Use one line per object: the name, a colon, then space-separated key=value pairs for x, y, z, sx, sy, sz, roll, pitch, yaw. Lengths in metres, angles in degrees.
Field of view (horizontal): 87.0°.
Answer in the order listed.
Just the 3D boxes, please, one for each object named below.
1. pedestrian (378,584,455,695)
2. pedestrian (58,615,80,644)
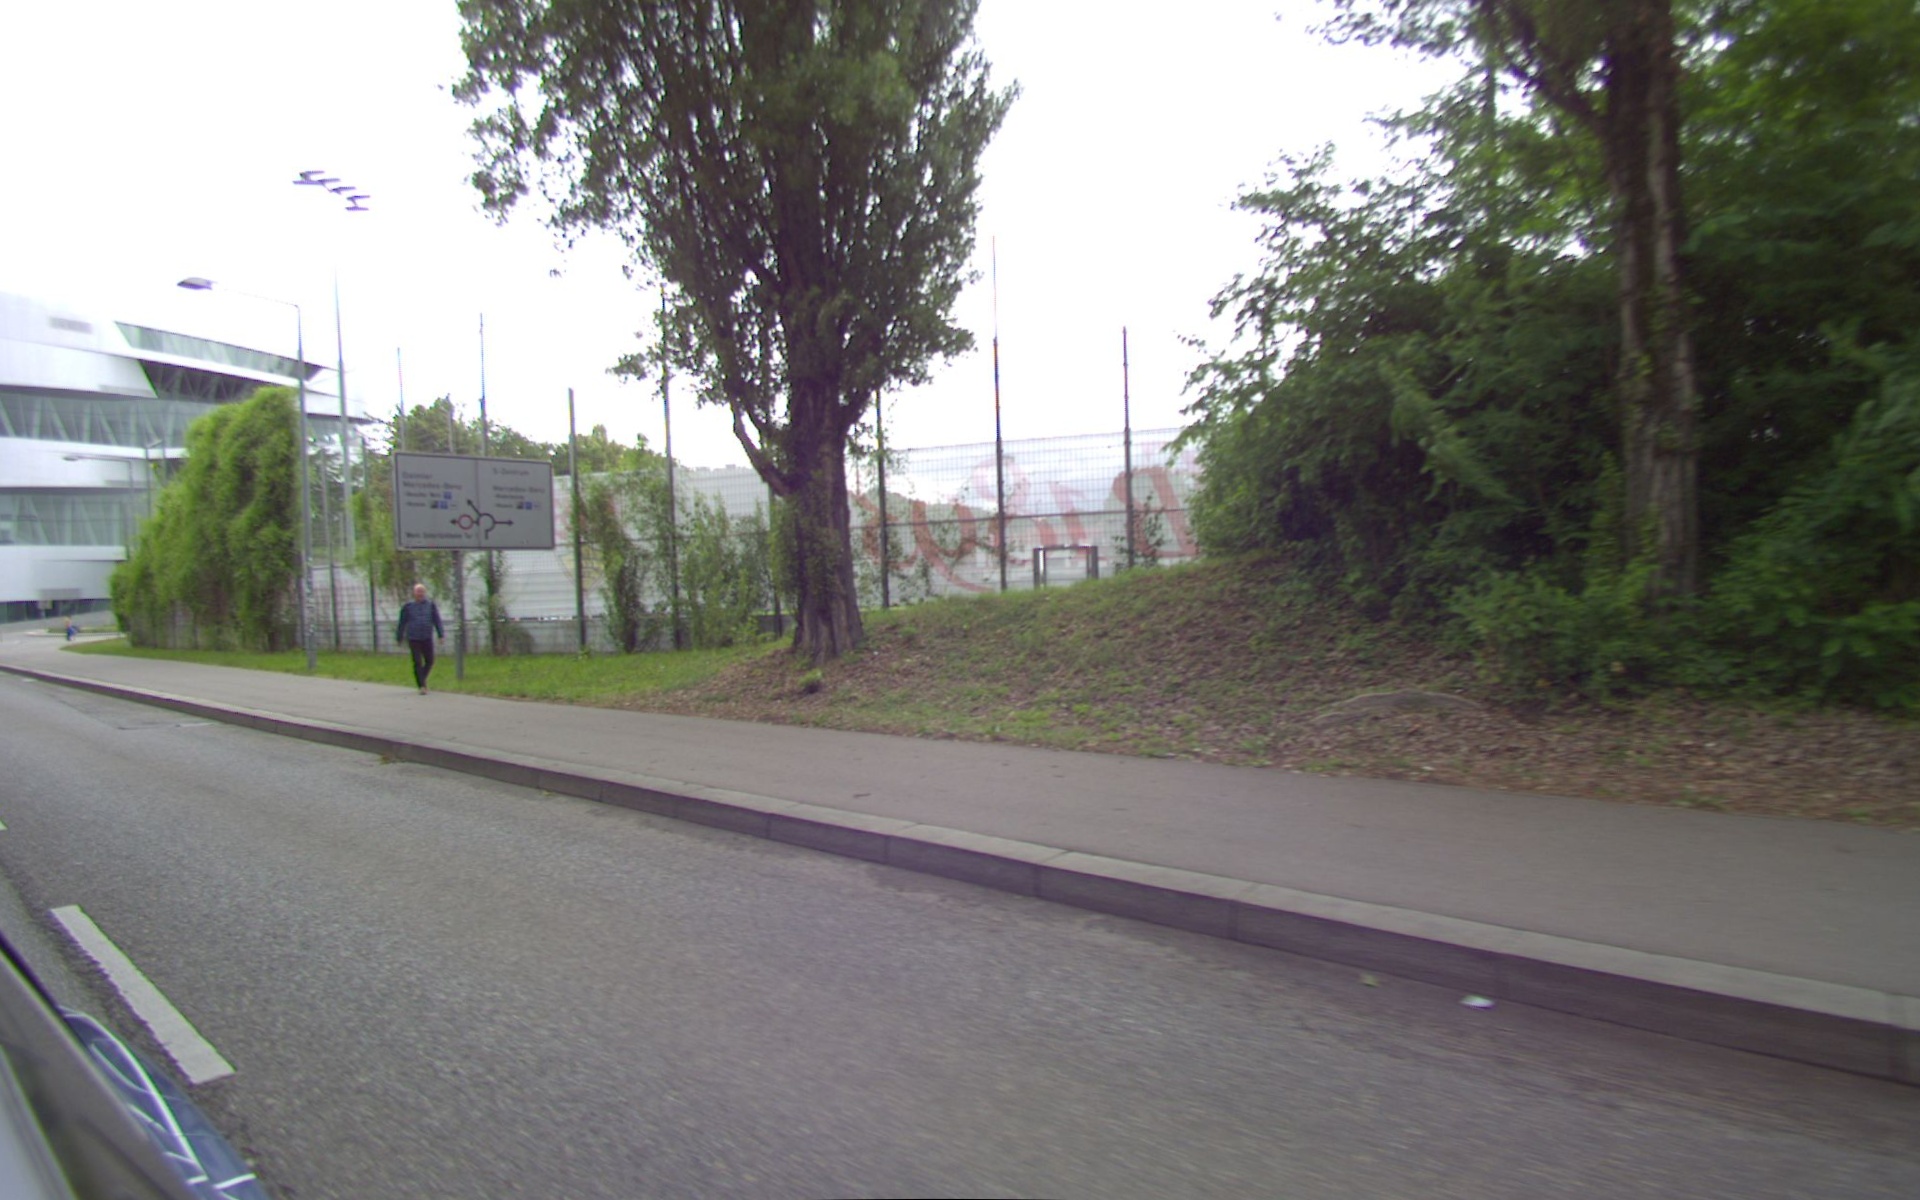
pedestrian: x=-9.165 y=0.665 z=17.070 sx=0.919 sy=1.794 sz=0.796 roll=-4 pitch=-1 yaw=39
pedestrian: x=-62.759 y=2.075 z=71.289 sx=1.023 sy=2.029 sz=0.786 roll=-3 pitch=-1 yaw=-40
